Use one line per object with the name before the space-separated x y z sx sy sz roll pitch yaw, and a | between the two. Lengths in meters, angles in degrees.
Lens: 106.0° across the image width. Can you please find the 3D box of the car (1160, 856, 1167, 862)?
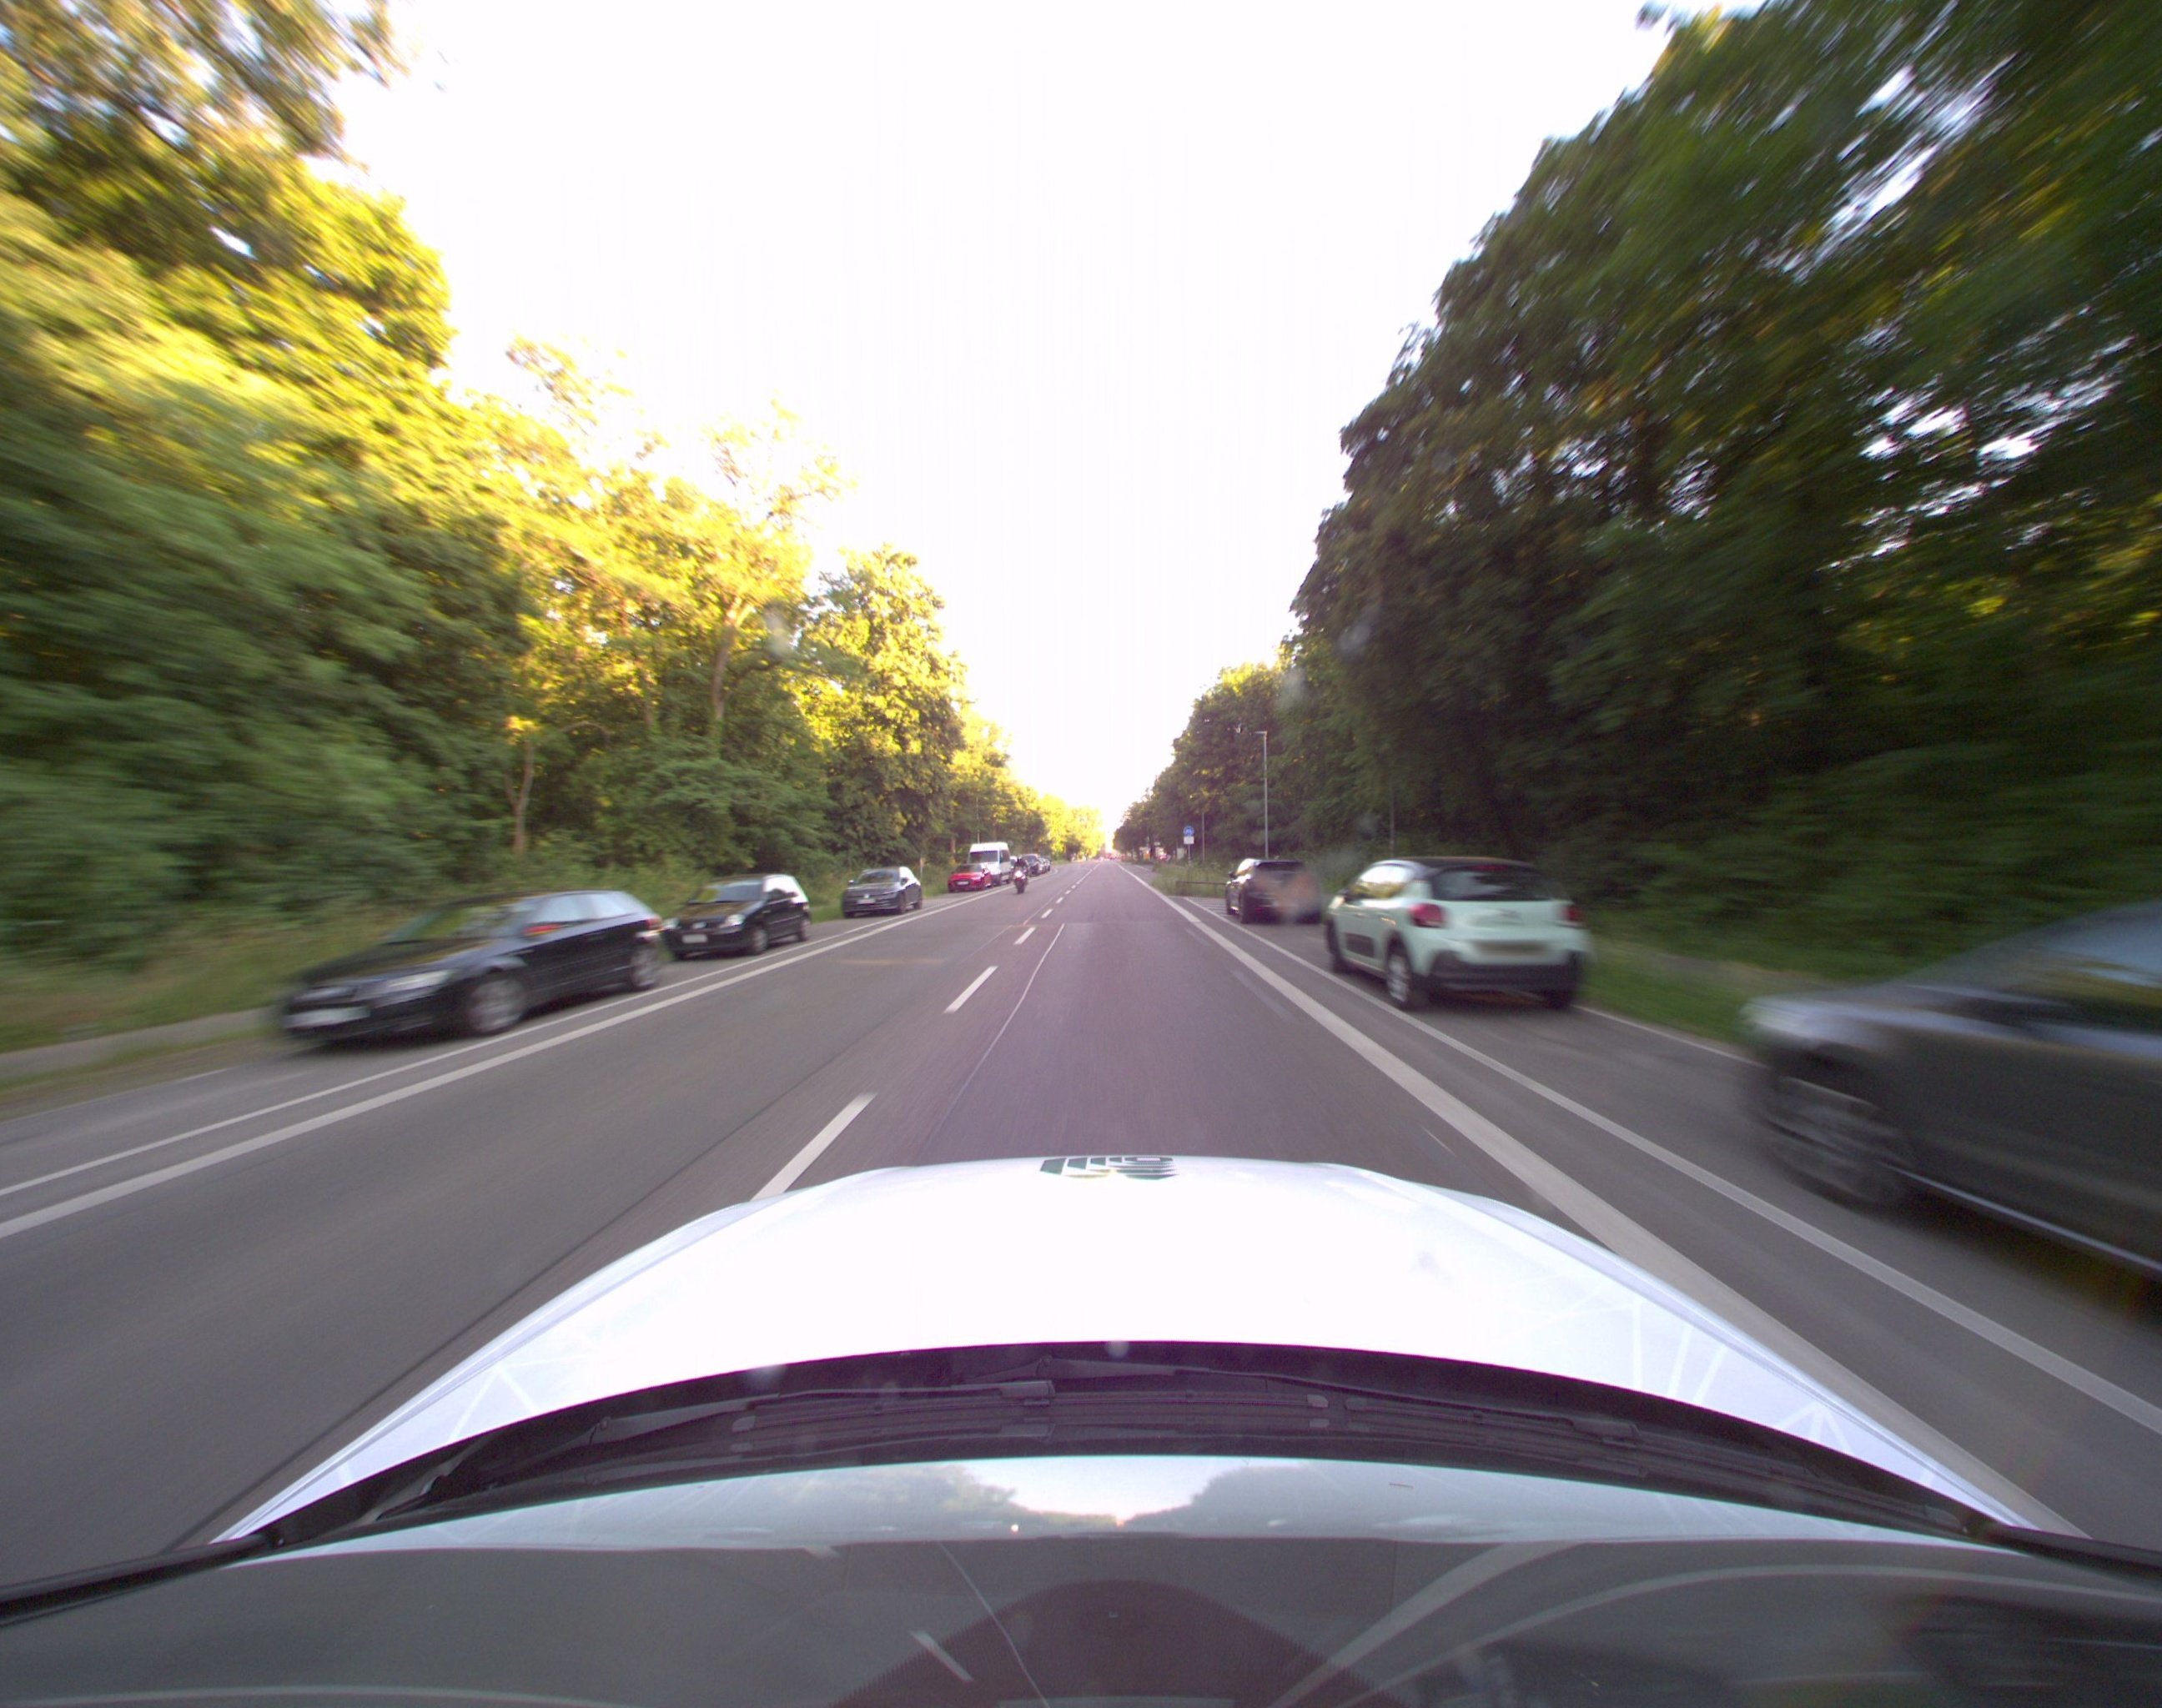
car | 21.608 1.378 213.415 1.761 1.583 4.826 0 -1 6

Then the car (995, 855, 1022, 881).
car | -5.479 1.005 61.750 1.682 1.858 4.386 -1 0 -1

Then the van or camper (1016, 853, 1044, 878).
van or camper | -4.568 1.008 73.367 1.996 2.018 5.460 -4 0 0

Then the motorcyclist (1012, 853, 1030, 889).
motorcyclist | -2.572 0.714 35.020 0.601 1.529 0.996 -2 0 4

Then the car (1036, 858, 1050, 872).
car | -4.804 1.365 101.945 1.613 1.534 4.035 -3 0 -3

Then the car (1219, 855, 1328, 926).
car | 4.390 0.778 19.181 1.704 1.444 4.124 -1 0 2

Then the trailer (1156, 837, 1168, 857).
trailer | 22.503 -1.866 226.227 3.008 5.462 7.940 -1 0 3

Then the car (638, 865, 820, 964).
car | -6.477 1.037 15.448 1.705 1.508 3.657 -3 0 1

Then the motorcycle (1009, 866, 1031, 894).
motorcycle | -2.593 1.098 34.706 0.608 1.126 1.964 -2 0 5

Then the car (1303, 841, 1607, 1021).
car | 3.891 0.687 9.318 1.682 1.546 4.114 -2 0 2

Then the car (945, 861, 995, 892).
car | -5.712 1.114 42.242 1.709 1.430 4.391 -3 0 3

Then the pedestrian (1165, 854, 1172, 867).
pedestrian | 11.606 0.867 108.031 0.835 1.751 0.726 -1 -1 2

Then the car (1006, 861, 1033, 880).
car | -5.050 1.317 67.098 1.663 1.433 4.448 -3 0 2

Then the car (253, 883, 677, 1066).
car | -6.429 1.130 9.194 1.592 1.394 4.052 -3 0 1

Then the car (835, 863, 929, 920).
car | -6.129 1.100 25.572 1.840 1.462 4.228 -4 0 -1

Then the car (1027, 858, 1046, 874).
car | -4.512 1.226 82.921 1.663 1.501 4.245 -3 0 0

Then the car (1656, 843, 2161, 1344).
car | 3.955 0.699 2.508 1.573 1.446 3.961 -2 0 1

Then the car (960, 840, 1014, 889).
car | -5.566 0.593 49.287 2.071 2.606 7.091 -4 0 2
